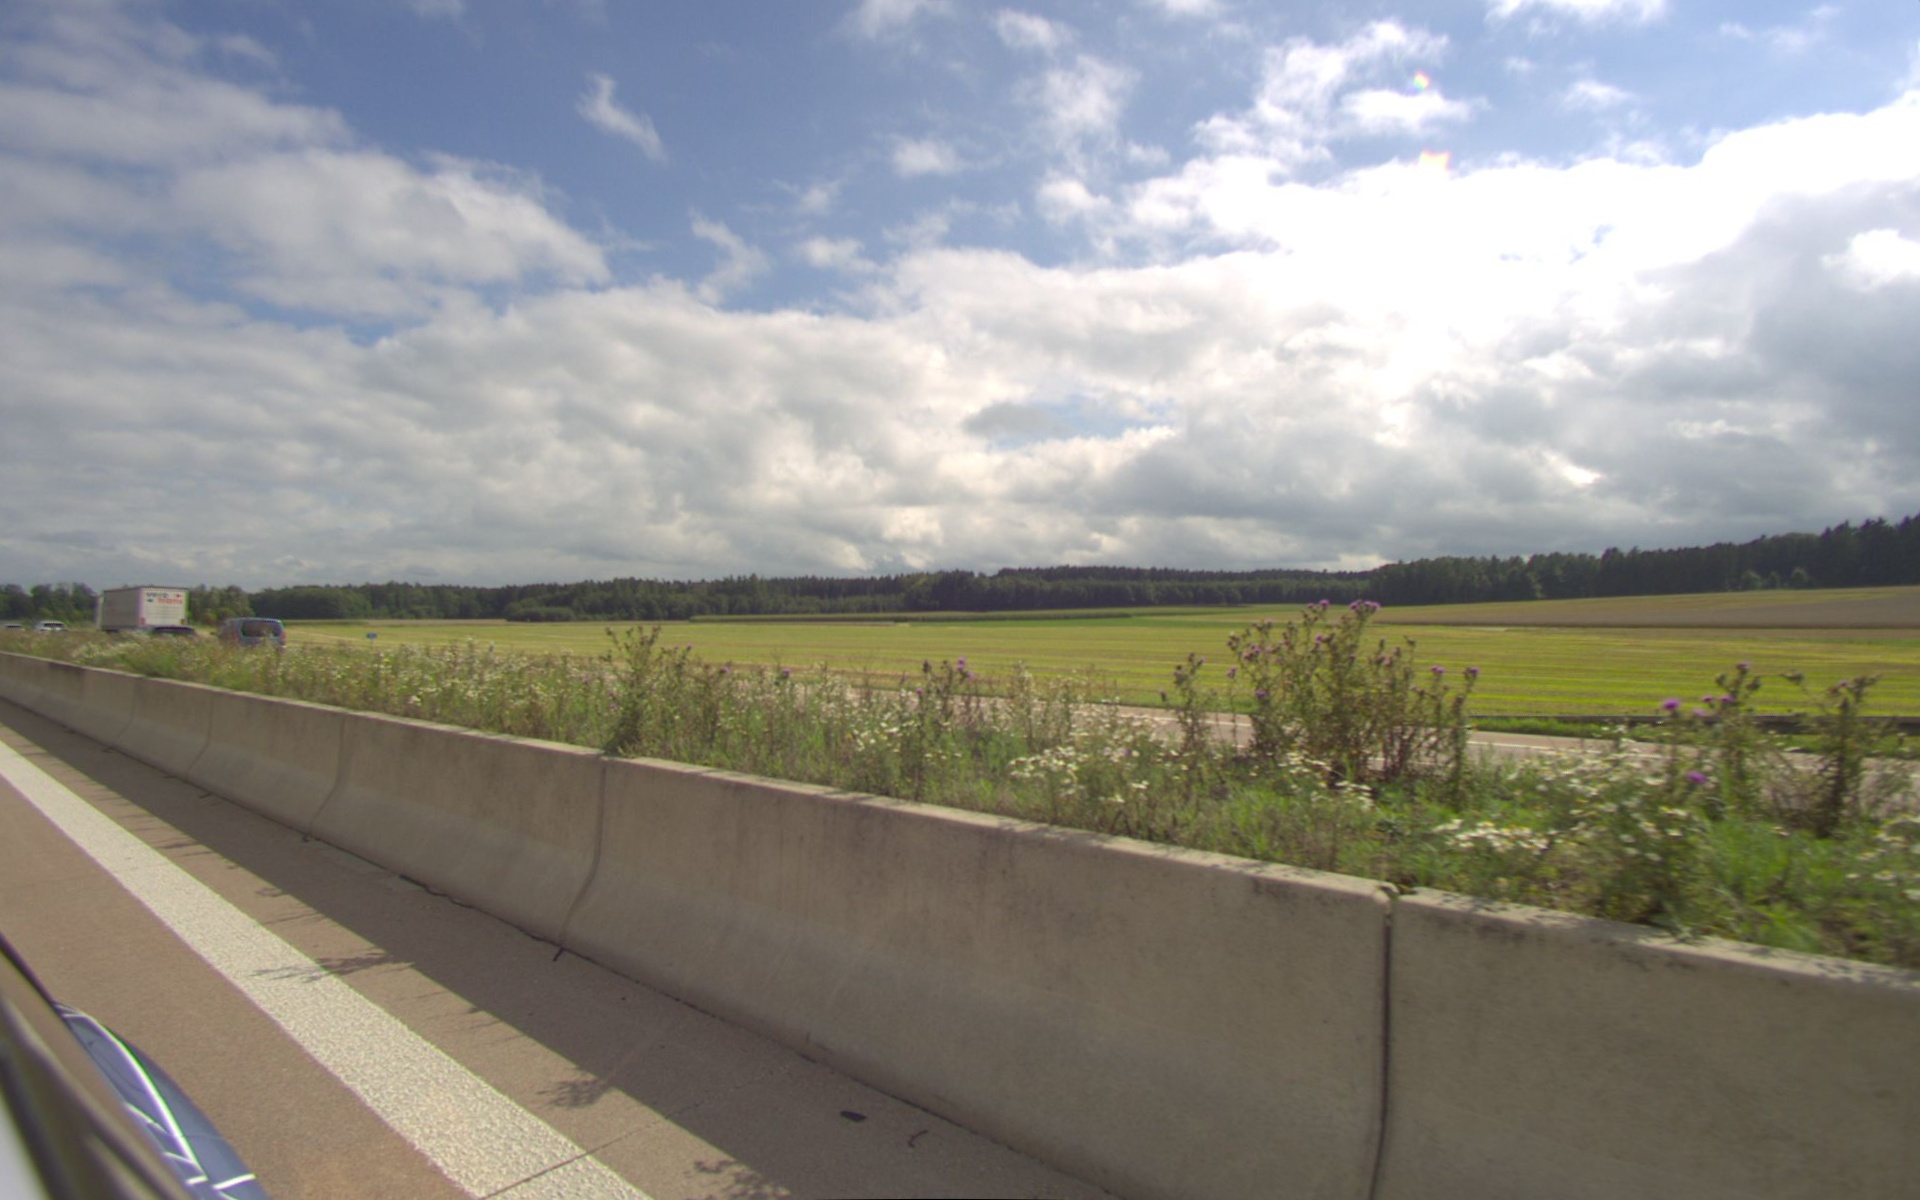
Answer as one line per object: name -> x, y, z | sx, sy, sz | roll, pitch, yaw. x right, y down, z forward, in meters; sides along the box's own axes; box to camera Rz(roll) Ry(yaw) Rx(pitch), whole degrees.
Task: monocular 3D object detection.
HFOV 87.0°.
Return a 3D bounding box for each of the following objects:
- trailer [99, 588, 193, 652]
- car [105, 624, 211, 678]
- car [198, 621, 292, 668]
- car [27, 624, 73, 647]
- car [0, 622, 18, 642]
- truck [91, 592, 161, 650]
trailer -> -57.563, 1.431, 71.391 | 13.256, 4.129, 3.173 | -2, 0, 42
car -> -27.241, 1.690, 34.341 | 4.596, 1.712, 1.973 | -1, -3, 41
car -> -27.720, 1.707, 39.204 | 4.253, 1.712, 1.973 | -1, -3, 41
car -> -69.338, 2.706, 77.116 | 4.782, 1.670, 1.973 | -1, -3, 40
car -> -88.721, 2.993, 93.615 | 4.468, 1.761, 1.754 | -2, 0, 41
truck -> -62.987, 1.599, 76.389 | 6.125, 4.129, 3.172 | -2, 0, 42
